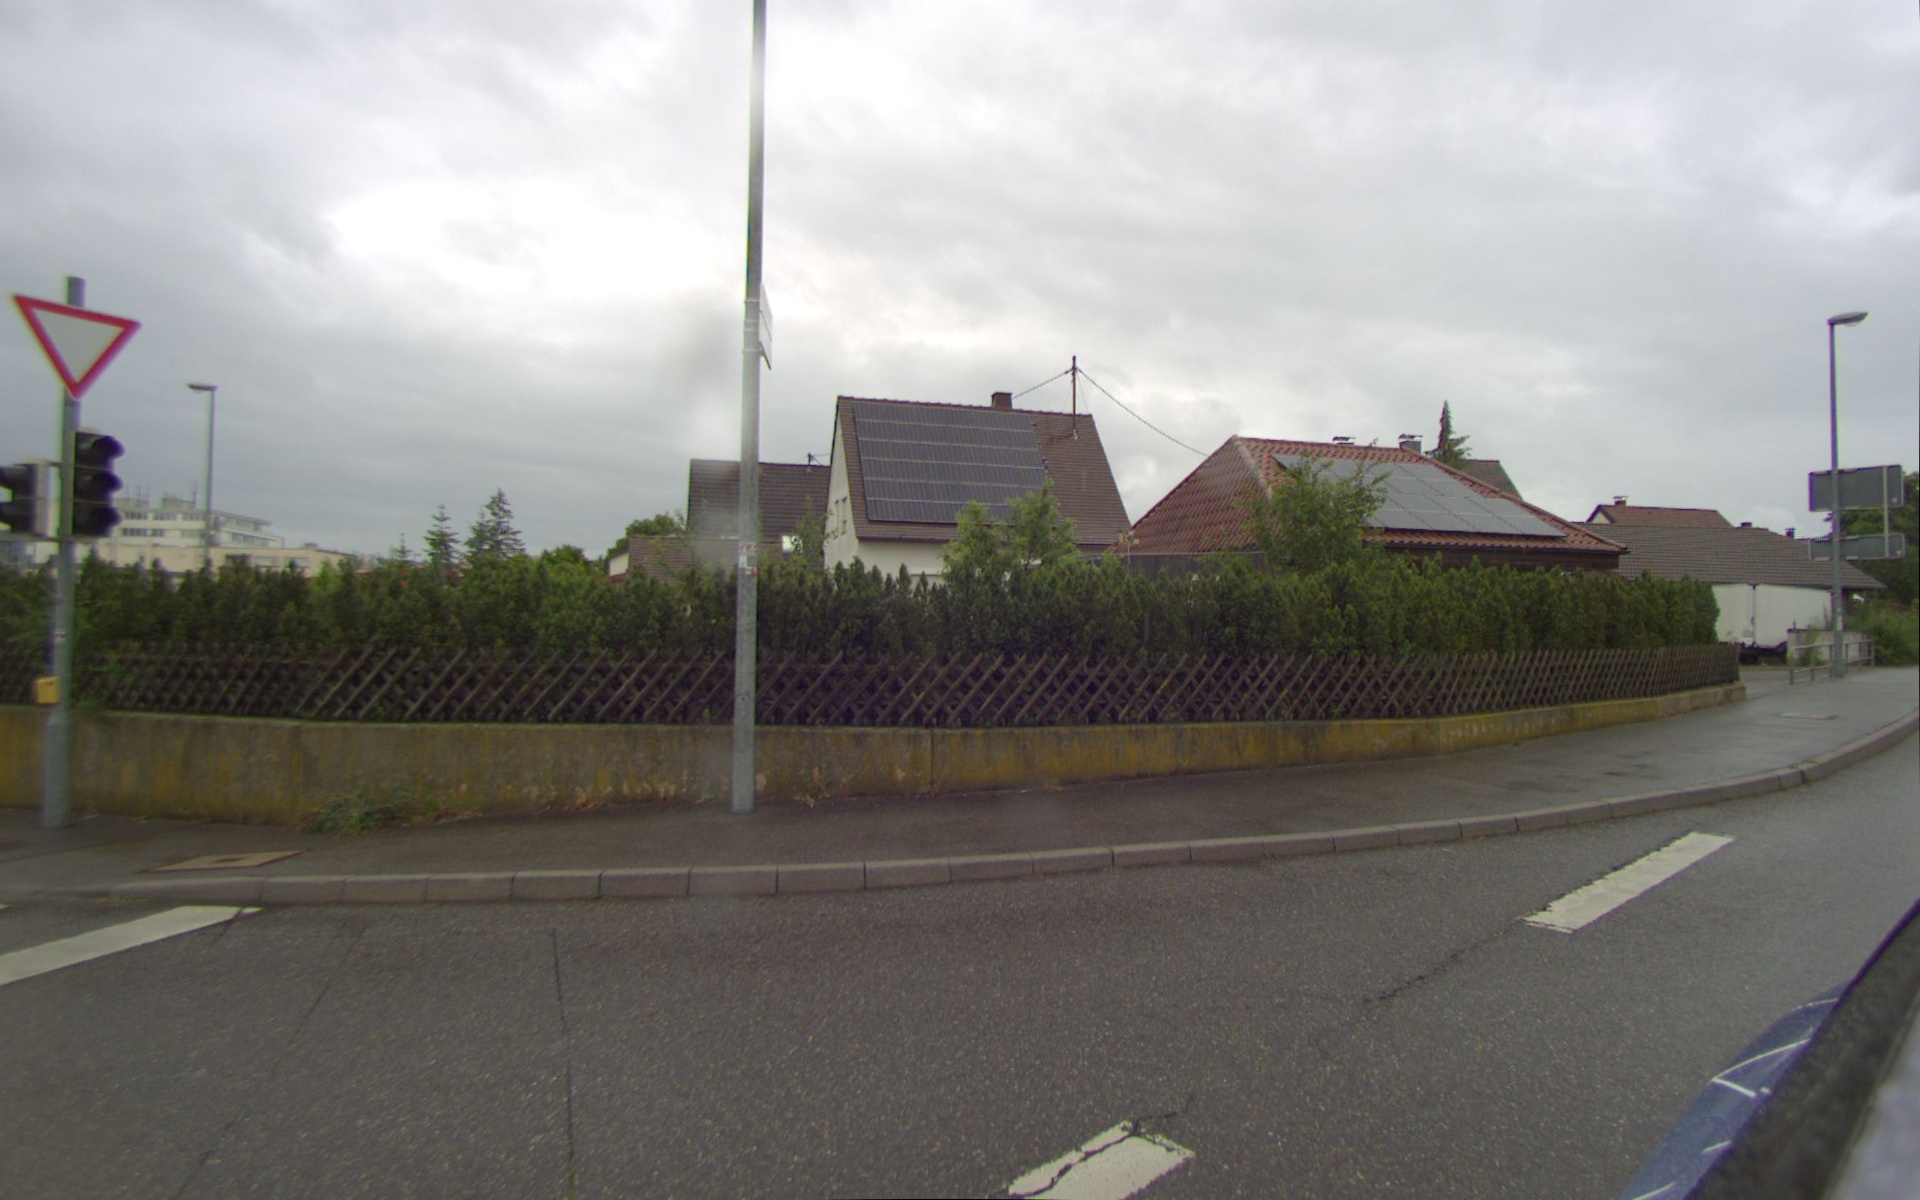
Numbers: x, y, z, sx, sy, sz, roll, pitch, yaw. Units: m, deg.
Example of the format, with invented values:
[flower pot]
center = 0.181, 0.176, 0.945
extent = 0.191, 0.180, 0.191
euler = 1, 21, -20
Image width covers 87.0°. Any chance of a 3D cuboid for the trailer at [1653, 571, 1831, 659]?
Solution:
[trailer]
center = 23.714, 0.469, 30.735
extent = 4.605, 2.550, 1.652
euler = 0, -2, -13
